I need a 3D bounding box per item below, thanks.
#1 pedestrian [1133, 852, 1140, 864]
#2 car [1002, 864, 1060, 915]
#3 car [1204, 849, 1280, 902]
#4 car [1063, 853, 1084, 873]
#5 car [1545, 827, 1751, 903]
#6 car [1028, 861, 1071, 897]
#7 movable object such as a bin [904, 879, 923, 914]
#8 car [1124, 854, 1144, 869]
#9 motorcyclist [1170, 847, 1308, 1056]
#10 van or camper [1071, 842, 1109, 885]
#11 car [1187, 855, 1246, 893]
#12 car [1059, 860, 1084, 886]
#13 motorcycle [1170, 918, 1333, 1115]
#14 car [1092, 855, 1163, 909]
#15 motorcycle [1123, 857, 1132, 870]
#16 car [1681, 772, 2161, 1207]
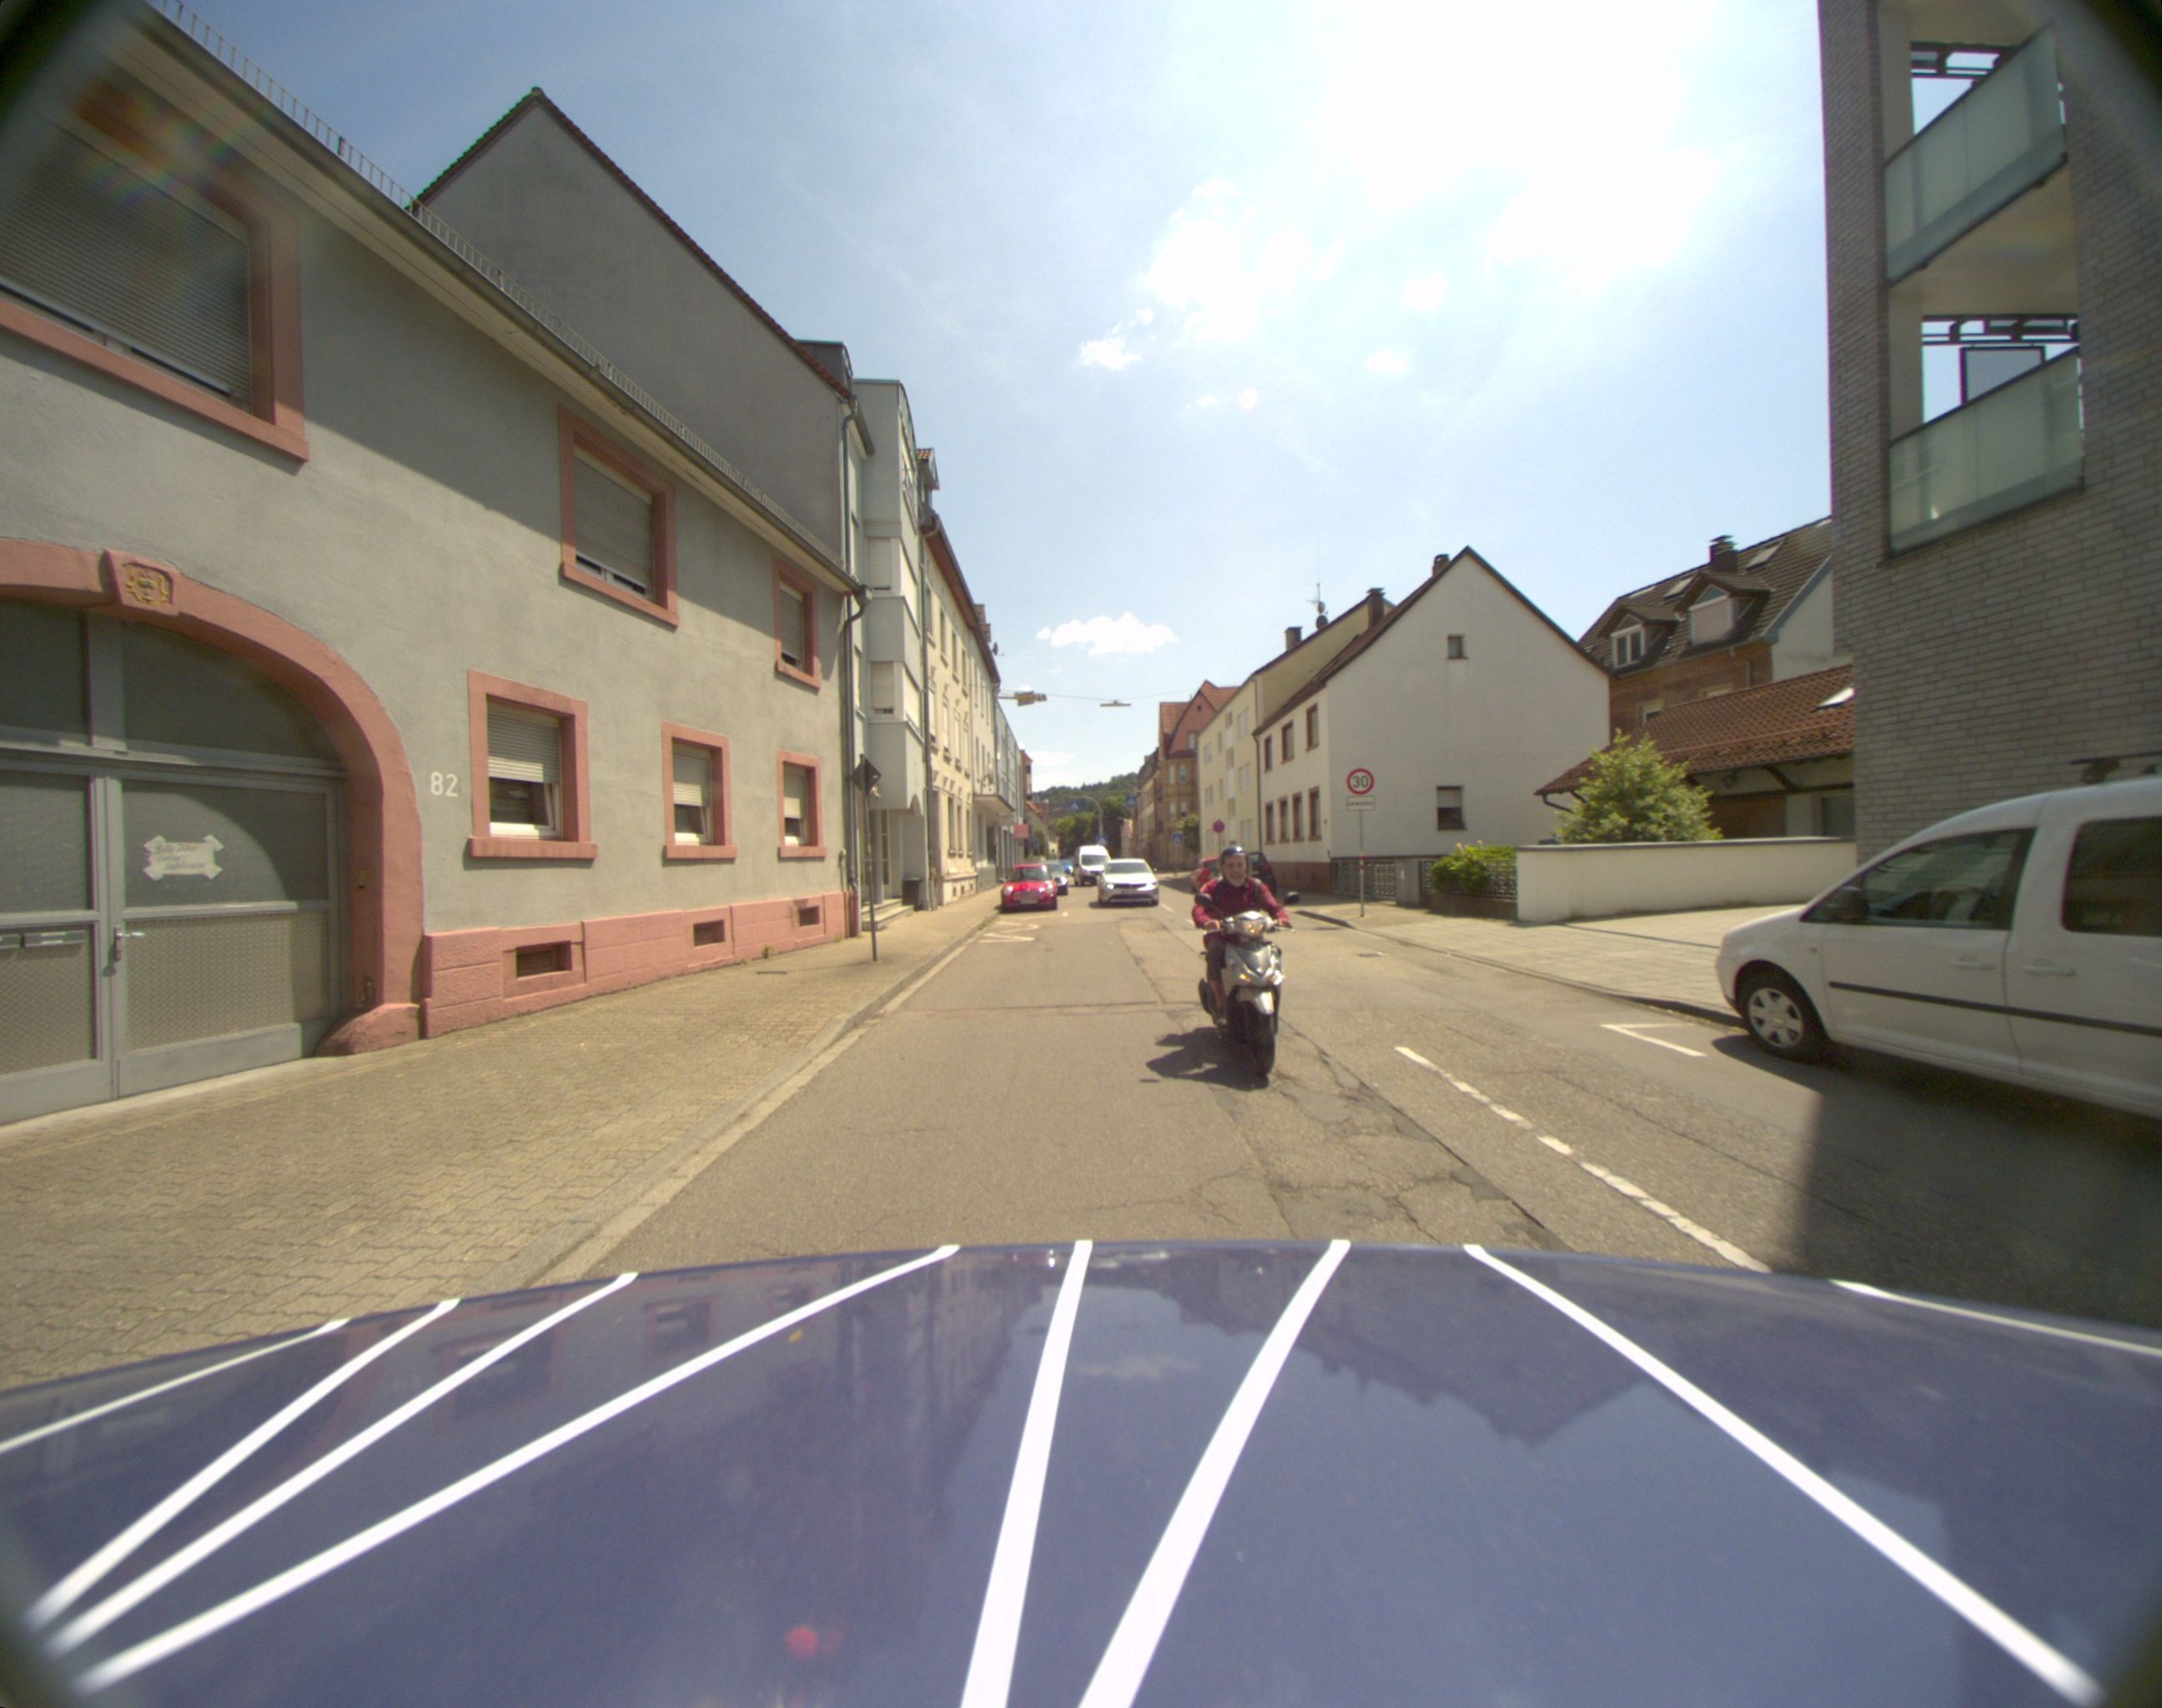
[{"bbox_3d":[7.870,0.555,107.964,0.770,1.760,0.764,-3,0,0],"label":"pedestrian"},{"bbox_3d":[-1.506,1.036,23.759,1.623,1.377,3.538,-2,0,-2],"label":"car"},{"bbox_3d":[5.570,0.700,26.728,1.799,1.637,3.945,-3,0,0],"label":"car"},{"bbox_3d":[-0.821,0.950,82.701,1.998,2.002,4.000,-4,0,2],"label":"car"},{"bbox_3d":[12.904,0.291,17.393,3.554,1.530,1.641,-3,0,43],"label":"car"},{"bbox_3d":[-1.367,1.051,33.745,1.734,1.412,4.543,-2,0,-2],"label":"car"},{"bbox_3d":[-4.668,1.185,21.210,0.474,0.929,0.487,-1,1,-8],"label":"movable object such as a bin"},{"bbox_3d":[5.323,0.719,77.190,1.787,1.449,4.635,-1,0,2],"label":"car"},{"bbox_3d":[1.163,0.686,5.829,0.793,1.431,1.020,-3,0,0],"label":"motorcyclist"},{"bbox_3d":[0.479,0.543,43.094,1.999,2.273,5.144,-1,0,0],"label":"van or camper"},{"bbox_3d":[5.575,0.772,31.731,1.838,1.408,4.290,-2,0,2],"label":"car"},{"bbox_3d":[-0.794,1.627,65.917,1.998,2.002,4.000,-4,0,1],"label":"car"},{"bbox_3d":[1.183,1.101,5.749,0.760,1.049,1.992,-3,0,0],"label":"motorcycle"},{"bbox_3d":[1.395,0.834,24.253,1.812,1.512,3.999,-2,0,-2],"label":"car"},{"bbox_3d":[4.008,0.816,65.337,0.689,1.116,2.028,-1,0,1],"label":"motorcycle"},{"bbox_3d":[5.544,0.532,3.797,1.761,1.881,4.337,-4,0,4],"label":"car"}]
